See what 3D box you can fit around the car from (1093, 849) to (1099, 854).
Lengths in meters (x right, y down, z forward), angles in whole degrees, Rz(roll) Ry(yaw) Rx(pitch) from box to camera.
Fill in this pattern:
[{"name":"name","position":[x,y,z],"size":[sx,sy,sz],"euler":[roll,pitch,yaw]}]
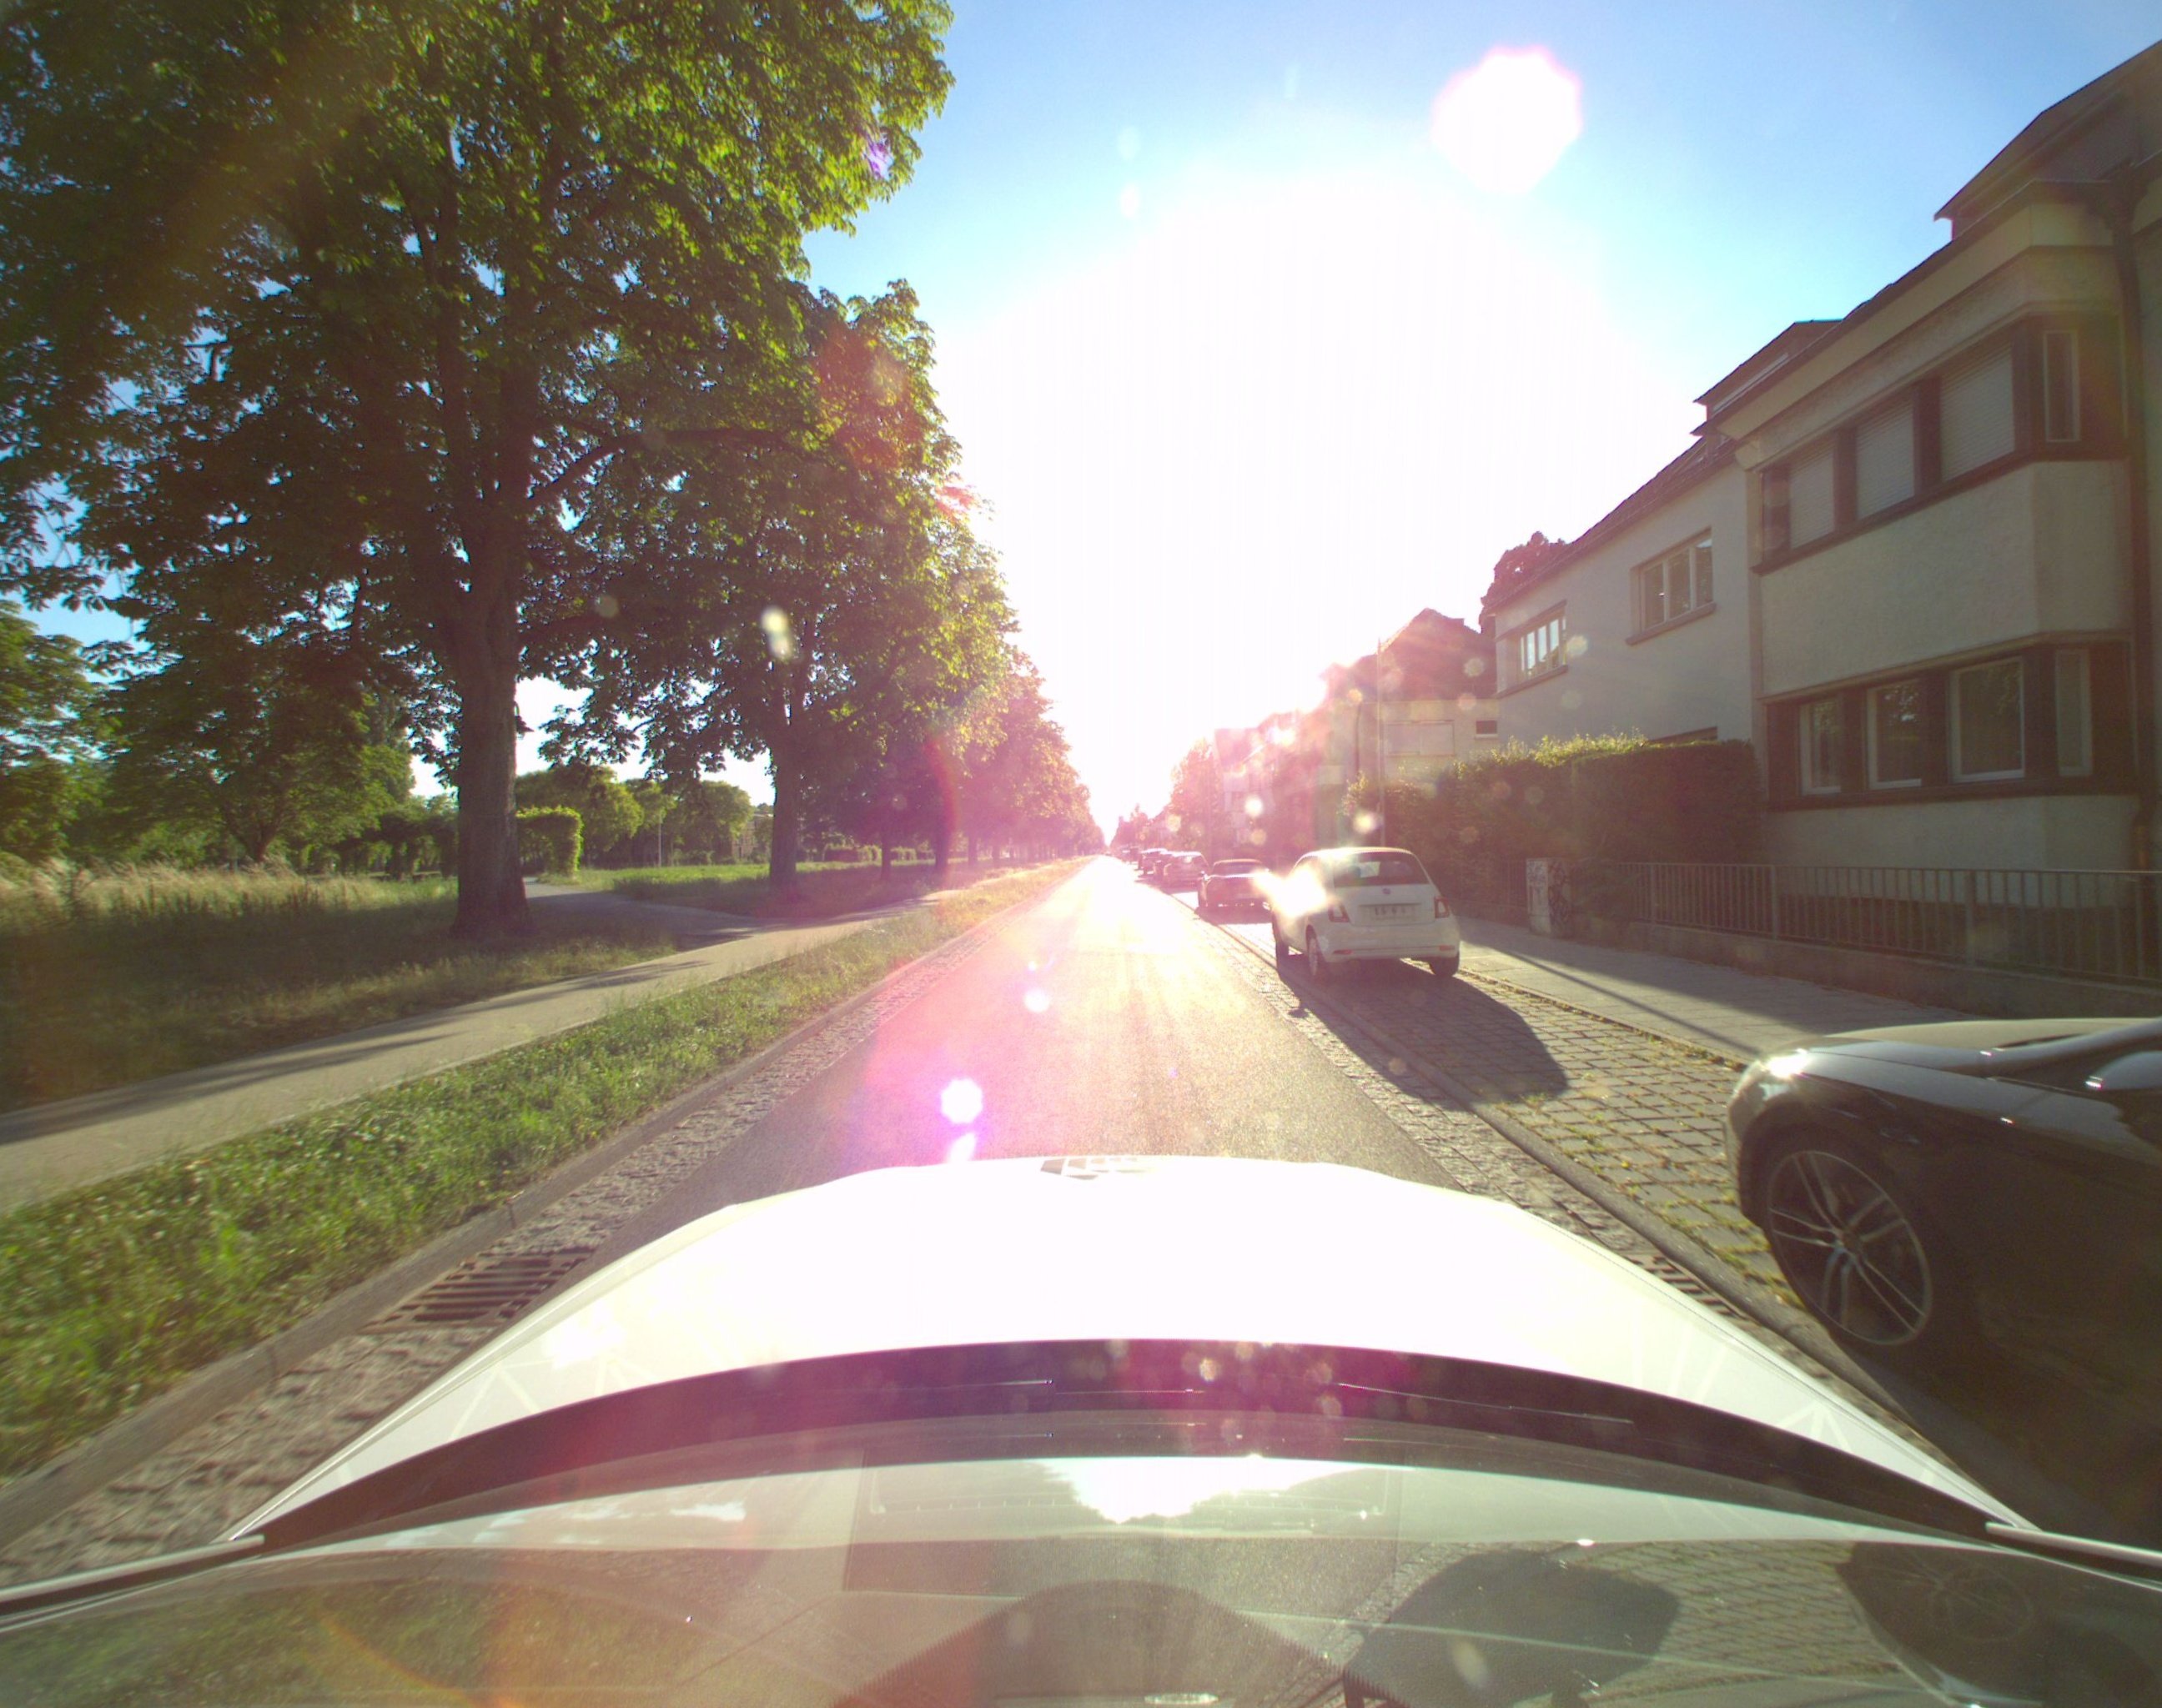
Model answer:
[{"name":"car","position":[4.152,-0.662,224.756],"size":[1.646,1.541,3.268],"euler":[0,0,2]}]

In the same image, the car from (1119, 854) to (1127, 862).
[{"name":"car","position":[8.217,0.801,158.822],"size":[1.645,1.541,3.269],"euler":[0,0,3]}]

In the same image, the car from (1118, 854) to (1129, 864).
[{"name":"car","position":[6.587,0.795,127.051],"size":[1.645,1.541,3.269],"euler":[0,0,3]}]

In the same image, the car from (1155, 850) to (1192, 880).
[{"name":"car","position":[4.666,0.549,41.274],"size":[1.645,1.396,3.269],"euler":[-1,0,3]}]

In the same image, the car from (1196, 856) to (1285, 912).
[{"name":"car","position":[3.905,0.690,20.420],"size":[1.686,1.248,3.500],"euler":[-1,0,3]}]

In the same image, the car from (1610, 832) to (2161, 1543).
[{"name":"car","position":[3.076,0.667,1.294],"size":[1.731,1.449,4.197],"euler":[-3,-1,1]}]

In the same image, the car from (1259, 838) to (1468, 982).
[{"name":"car","position":[3.436,0.606,10.579],"size":[1.586,1.510,3.594],"euler":[-1,0,3]}]

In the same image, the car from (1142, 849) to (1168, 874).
[{"name":"car","position":[4.760,0.473,52.733],"size":[1.492,1.567,3.269],"euler":[-1,0,3]}]

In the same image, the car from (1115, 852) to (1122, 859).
[{"name":"car","position":[8.715,0.318,189.301],"size":[1.646,1.541,3.268],"euler":[0,0,2]}]

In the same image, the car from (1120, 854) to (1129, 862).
[{"name":"car","position":[8.244,0.792,153.418],"size":[1.645,1.541,3.269],"euler":[0,0,3]}]

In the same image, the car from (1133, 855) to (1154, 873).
[{"name":"car","position":[5.136,0.816,67.103],"size":[1.587,1.434,3.269],"euler":[-1,0,3]}]

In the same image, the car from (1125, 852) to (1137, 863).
[{"name":"car","position":[6.962,0.428,114.585],"size":[1.645,1.541,3.269],"euler":[0,0,3]}]

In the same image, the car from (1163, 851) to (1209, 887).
[{"name":"car","position":[4.377,0.611,34.215],"size":[1.645,1.396,3.269],"euler":[-1,0,3]}]
